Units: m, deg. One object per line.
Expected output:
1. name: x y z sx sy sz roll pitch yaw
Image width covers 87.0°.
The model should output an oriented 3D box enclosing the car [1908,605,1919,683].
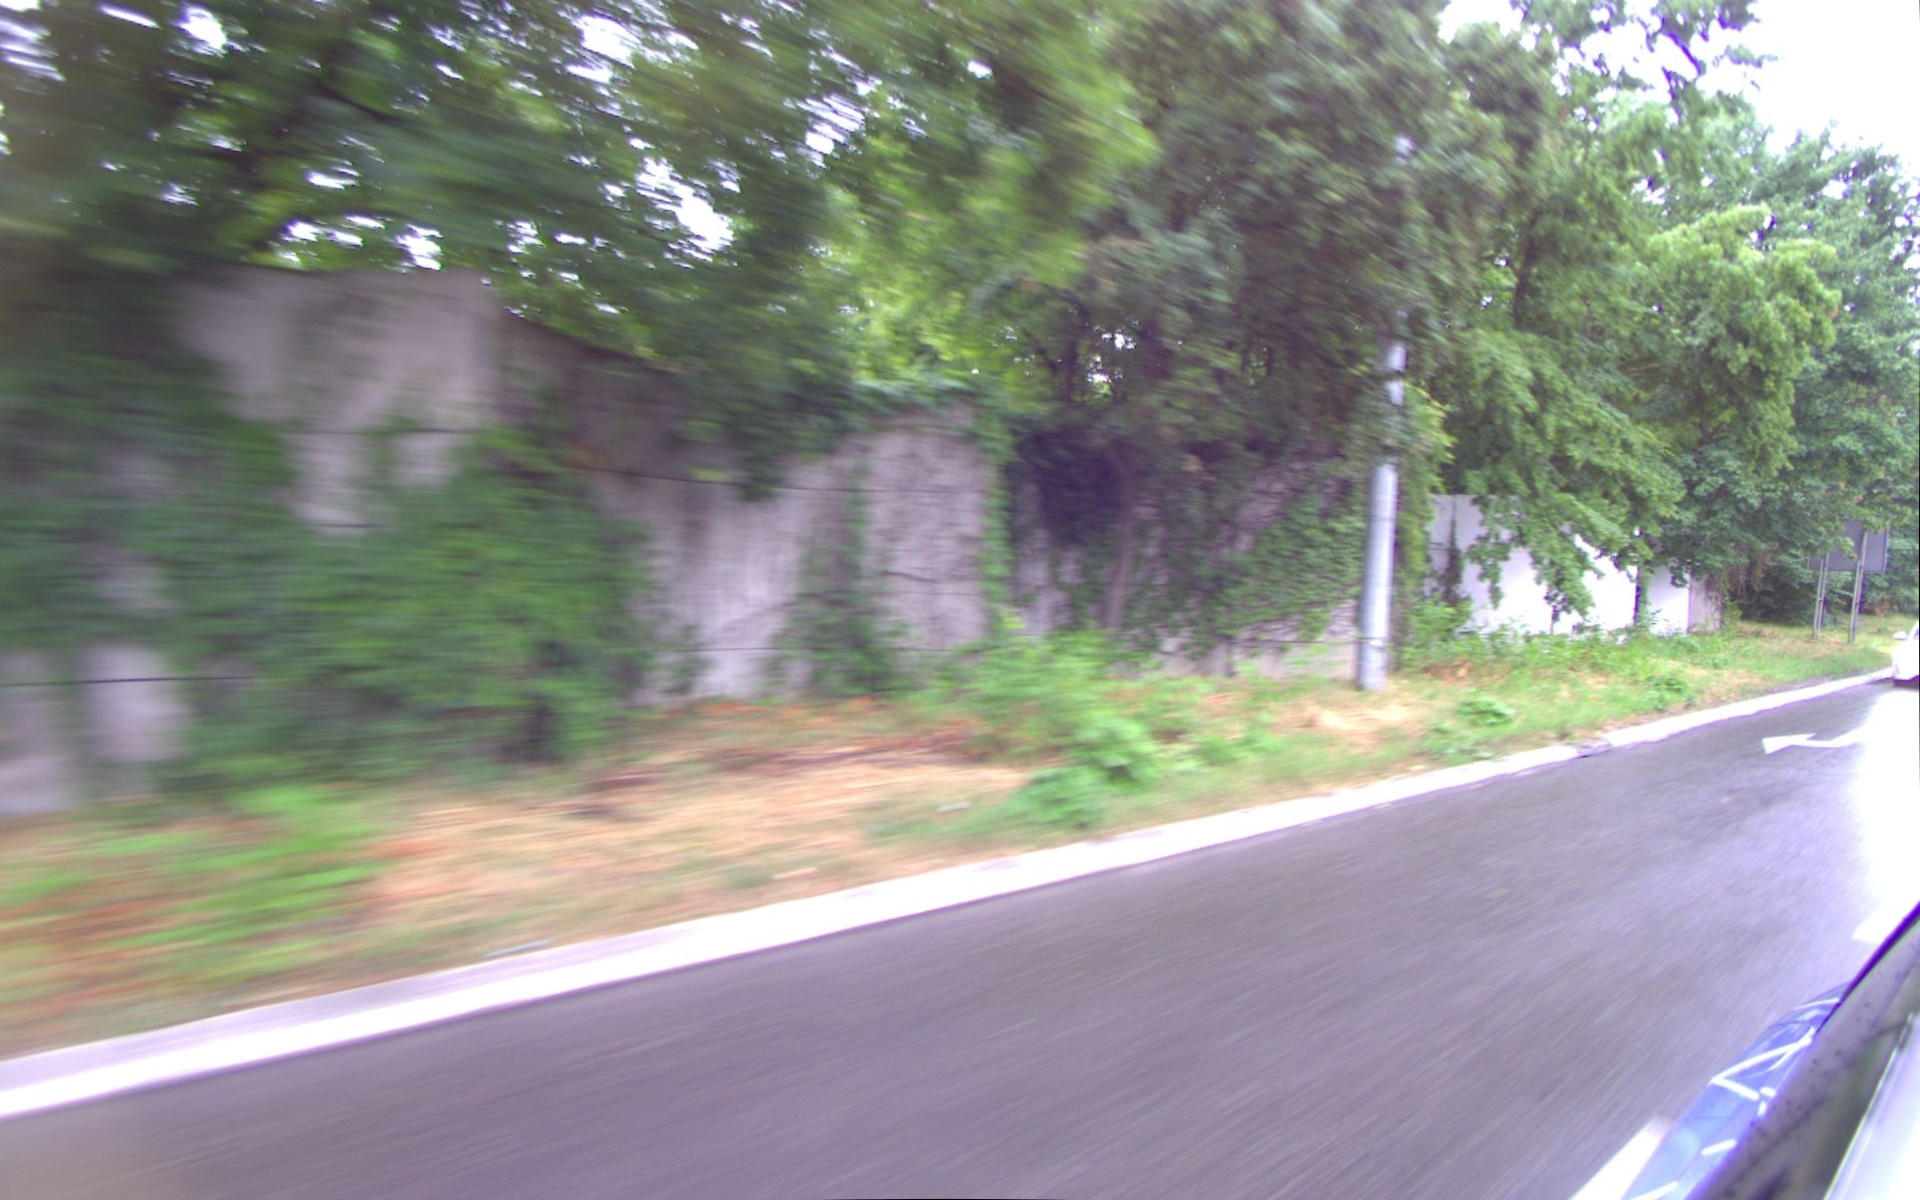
1. car: 20.004 0.842 19.806 4.200 1.451 1.837 0 0 -43
